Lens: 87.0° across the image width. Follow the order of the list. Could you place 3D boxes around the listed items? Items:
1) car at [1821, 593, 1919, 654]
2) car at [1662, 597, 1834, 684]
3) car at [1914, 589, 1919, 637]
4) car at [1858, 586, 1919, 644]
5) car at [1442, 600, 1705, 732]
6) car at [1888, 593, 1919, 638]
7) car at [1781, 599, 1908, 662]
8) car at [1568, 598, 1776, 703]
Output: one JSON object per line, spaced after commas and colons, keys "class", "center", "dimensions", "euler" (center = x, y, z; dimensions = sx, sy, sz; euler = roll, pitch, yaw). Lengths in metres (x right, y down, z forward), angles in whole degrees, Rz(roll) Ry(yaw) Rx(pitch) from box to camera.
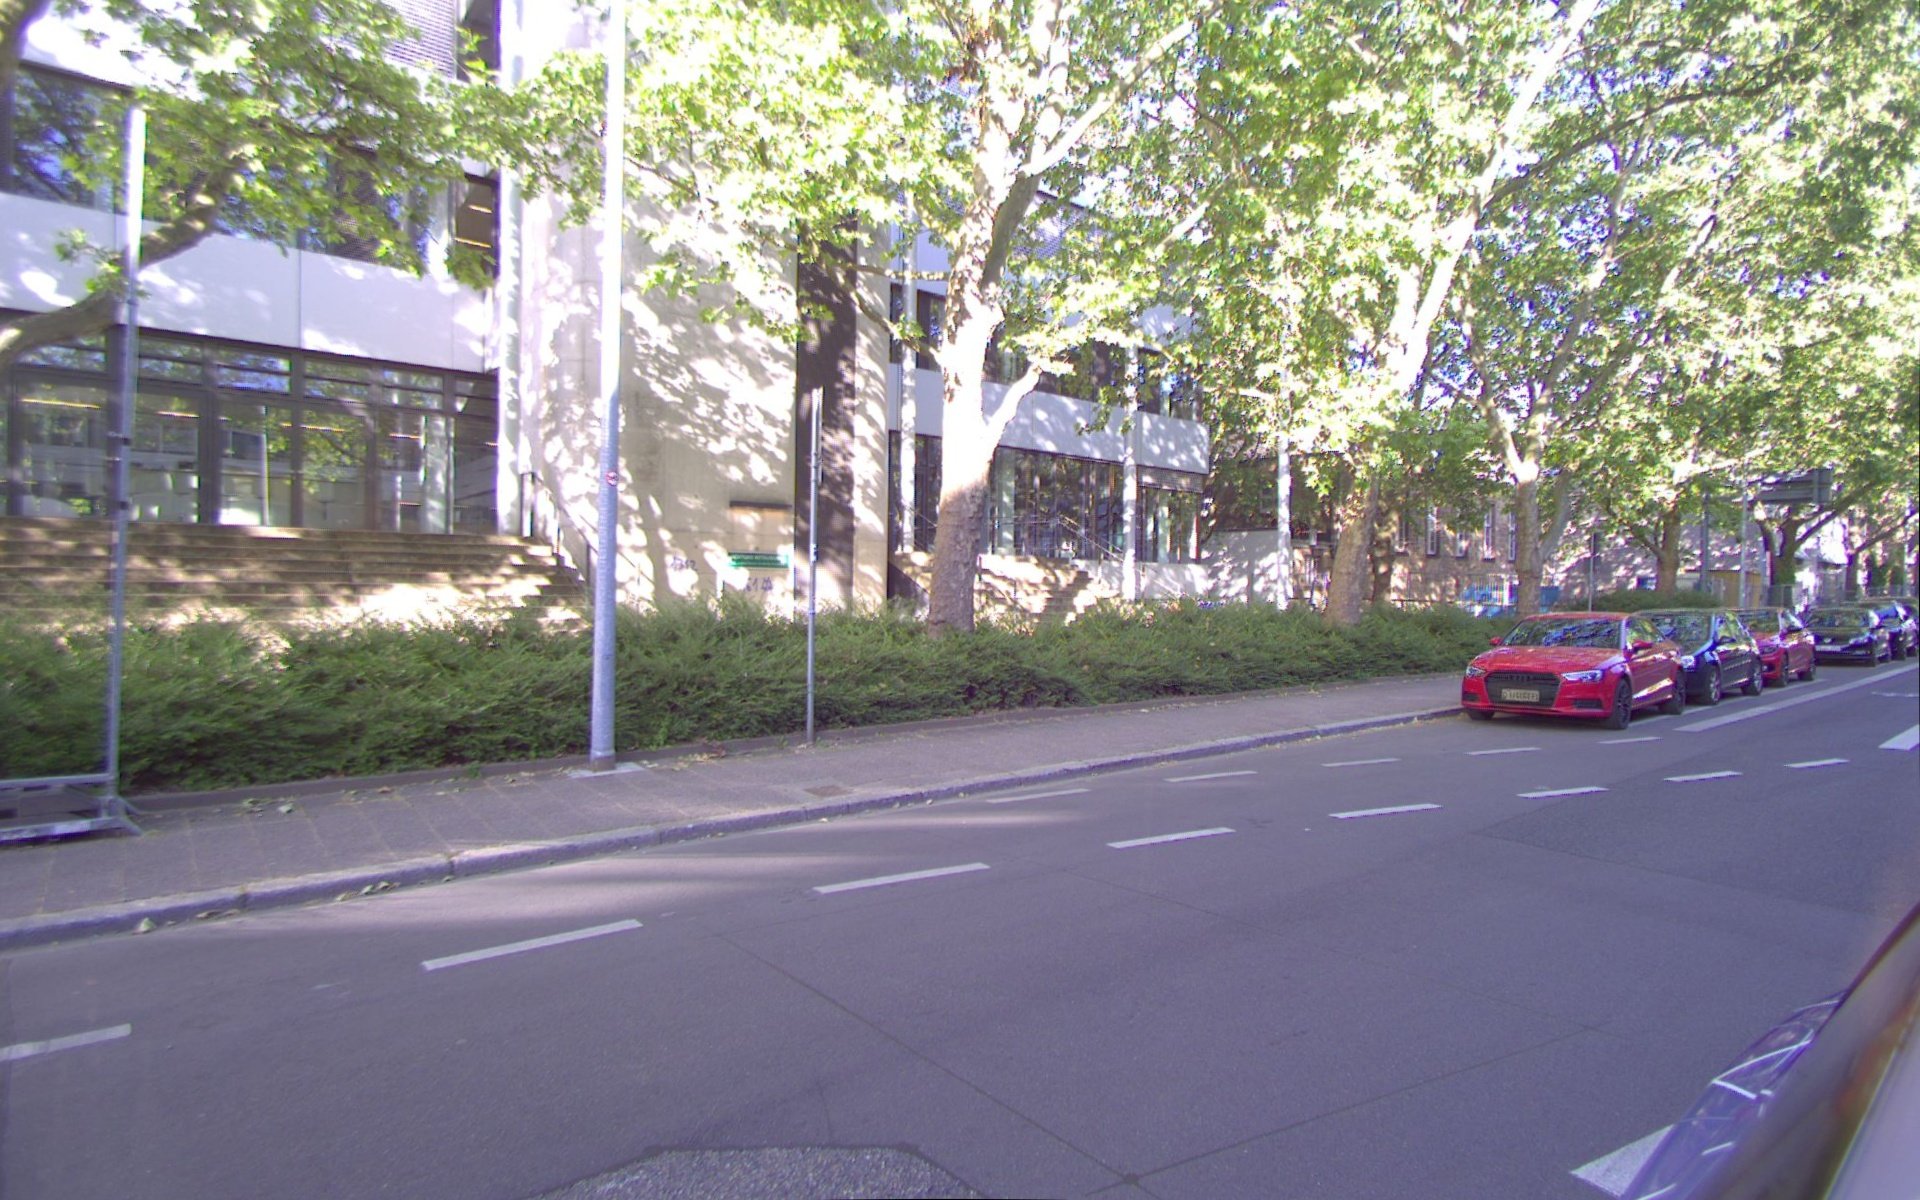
{"class": "car", "center": [26.541, 0.608, 29.192], "dimensions": [4.070, 1.621, 1.997], "euler": [-1, 0, -41]}
{"class": "car", "center": [15.663, 0.718, 20.062], "dimensions": [3.762, 1.517, 1.997], "euler": [-1, 0, -41]}
{"class": "car", "center": [39.630, 0.484, 40.302], "dimensions": [3.930, 1.872, 1.997], "euler": [-1, 0, -41]}
{"class": "car", "center": [31.279, 0.449, 33.320], "dimensions": [4.493, 1.809, 1.997], "euler": [-1, 0, -41]}
{"class": "car", "center": [8.272, 0.752, 13.532], "dimensions": [3.930, 1.443, 1.906], "euler": [-1, 1, -41]}
{"class": "car", "center": [36.007, 0.554, 37.461], "dimensions": [4.070, 1.585, 1.997], "euler": [-1, 0, -41]}
{"class": "car", "center": [22.815, 0.722, 26.070], "dimensions": [3.527, 1.474, 1.997], "euler": [-1, 0, -41]}
{"class": "car", "center": [11.719, 0.729, 16.595], "dimensions": [3.581, 1.478, 1.997], "euler": [-1, 0, -41]}
